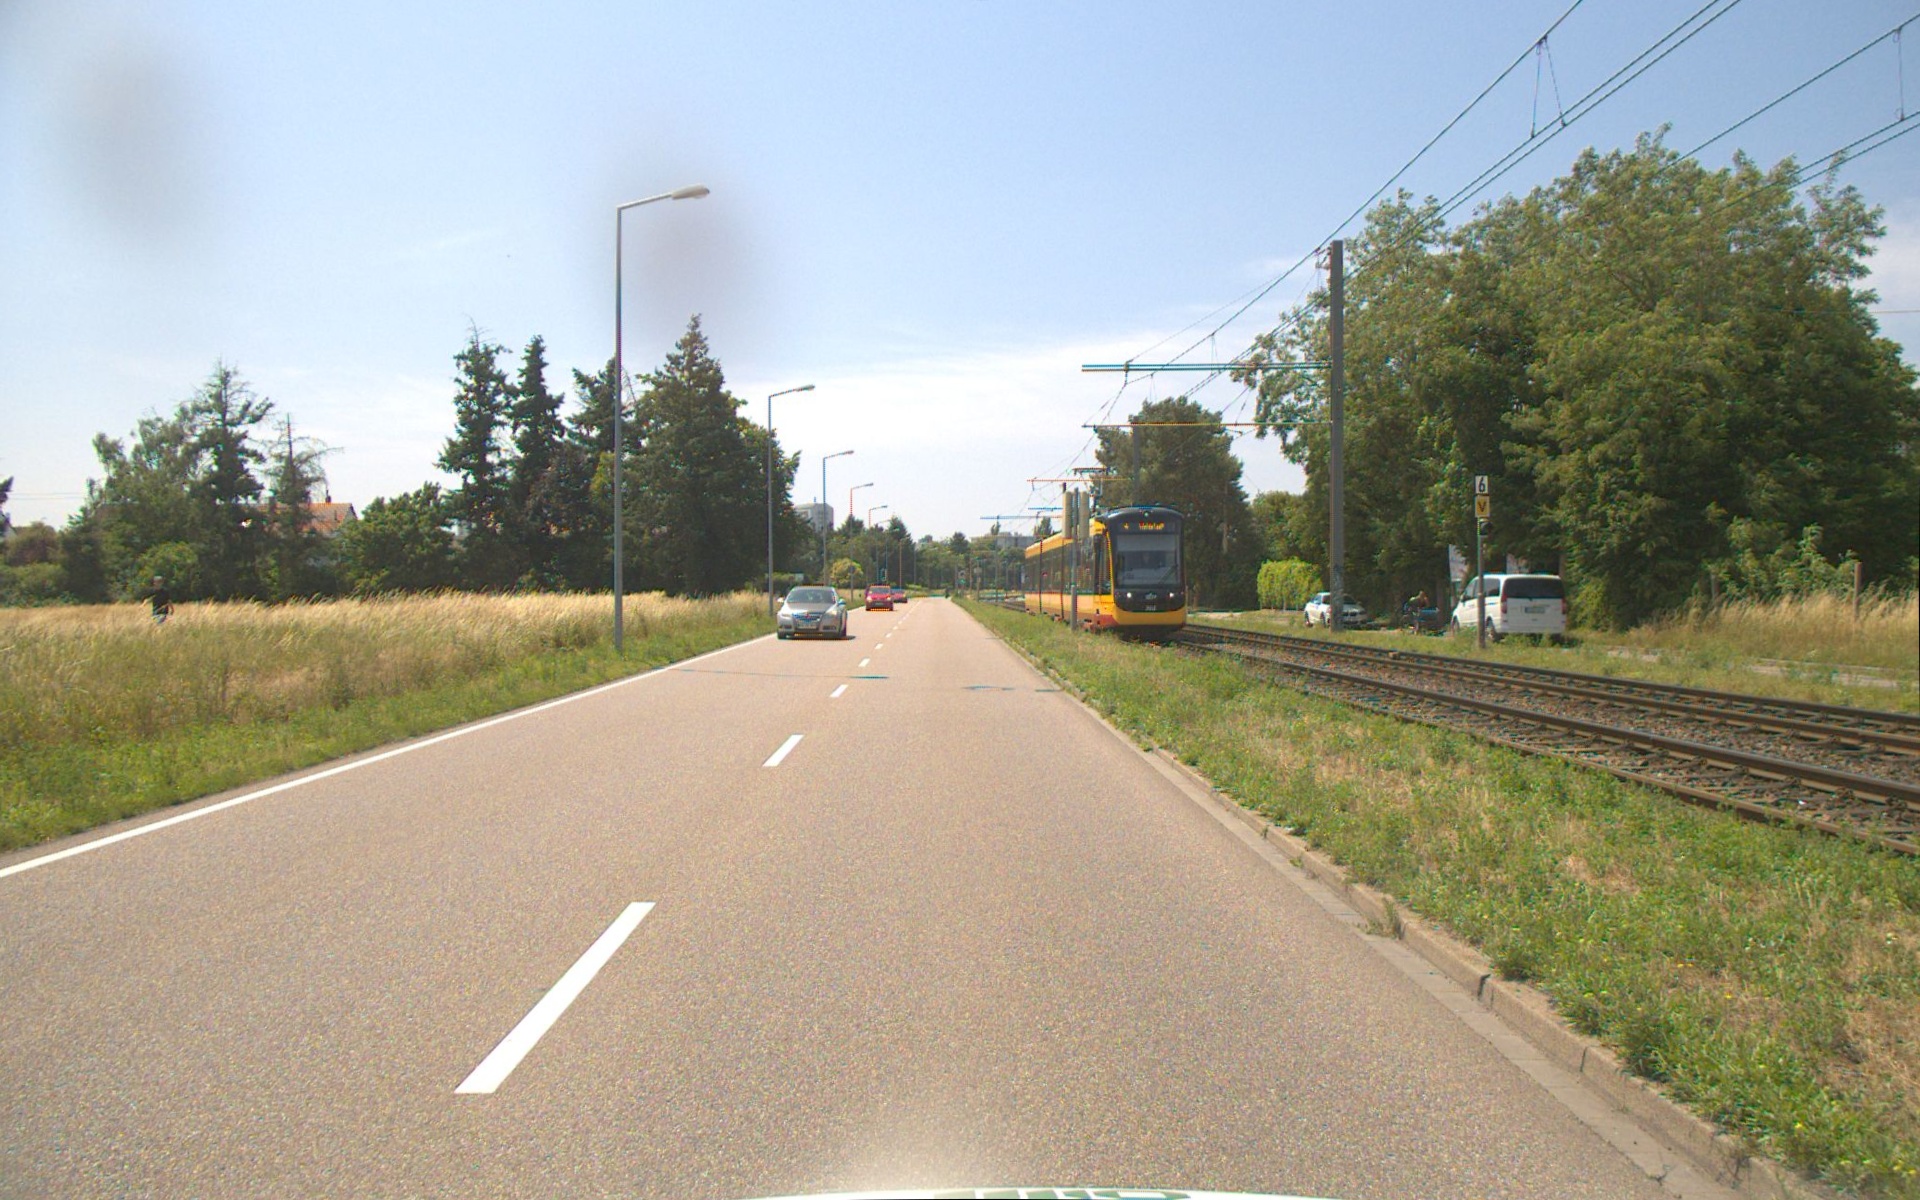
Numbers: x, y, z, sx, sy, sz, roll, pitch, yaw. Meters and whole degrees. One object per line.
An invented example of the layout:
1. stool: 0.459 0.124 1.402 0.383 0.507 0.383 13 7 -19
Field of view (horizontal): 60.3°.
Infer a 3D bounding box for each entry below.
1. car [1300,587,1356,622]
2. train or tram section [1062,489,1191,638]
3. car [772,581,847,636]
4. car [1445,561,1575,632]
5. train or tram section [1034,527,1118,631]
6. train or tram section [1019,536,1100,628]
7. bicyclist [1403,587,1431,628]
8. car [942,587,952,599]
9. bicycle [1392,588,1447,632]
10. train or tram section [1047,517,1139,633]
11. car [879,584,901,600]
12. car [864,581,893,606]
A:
1. car: 14.476 0.196 65.185 1.399 1.331 3.465 -1 0 -1
2. train or tram section: 4.676 -0.901 48.729 2.380 3.832 11.556 -1 0 -1
3. car: -4.322 0.259 48.070 1.797 1.493 4.677 0 -1 -1
4. car: 15.271 -0.077 46.207 1.953 1.834 4.793 -1 0 -1
5. train or tram section: 4.445 -0.761 64.661 2.646 3.832 6.727 -1 0 -1
6. train or tram section: 4.288 -0.715 73.610 2.709 3.754 11.183 -1 0 -1
7. bicyclist: 15.722 0.258 56.878 0.687 1.361 0.903 -1 -1 -1
8. car: -2.117 -1.119 260.617 1.547 1.780 3.676 -1 0 -1
9. bicycle: 15.775 0.341 56.888 0.909 1.455 3.384 -1 0 -1
10. train or tram section: 4.567 -0.804 57.934 2.509 3.778 6.727 -1 0 -1
11. car: -6.213 -0.701 146.816 1.771 1.308 4.285 -1 0 -1
12. car: -4.871 -0.390 99.482 1.612 1.424 3.843 -1 0 -1
